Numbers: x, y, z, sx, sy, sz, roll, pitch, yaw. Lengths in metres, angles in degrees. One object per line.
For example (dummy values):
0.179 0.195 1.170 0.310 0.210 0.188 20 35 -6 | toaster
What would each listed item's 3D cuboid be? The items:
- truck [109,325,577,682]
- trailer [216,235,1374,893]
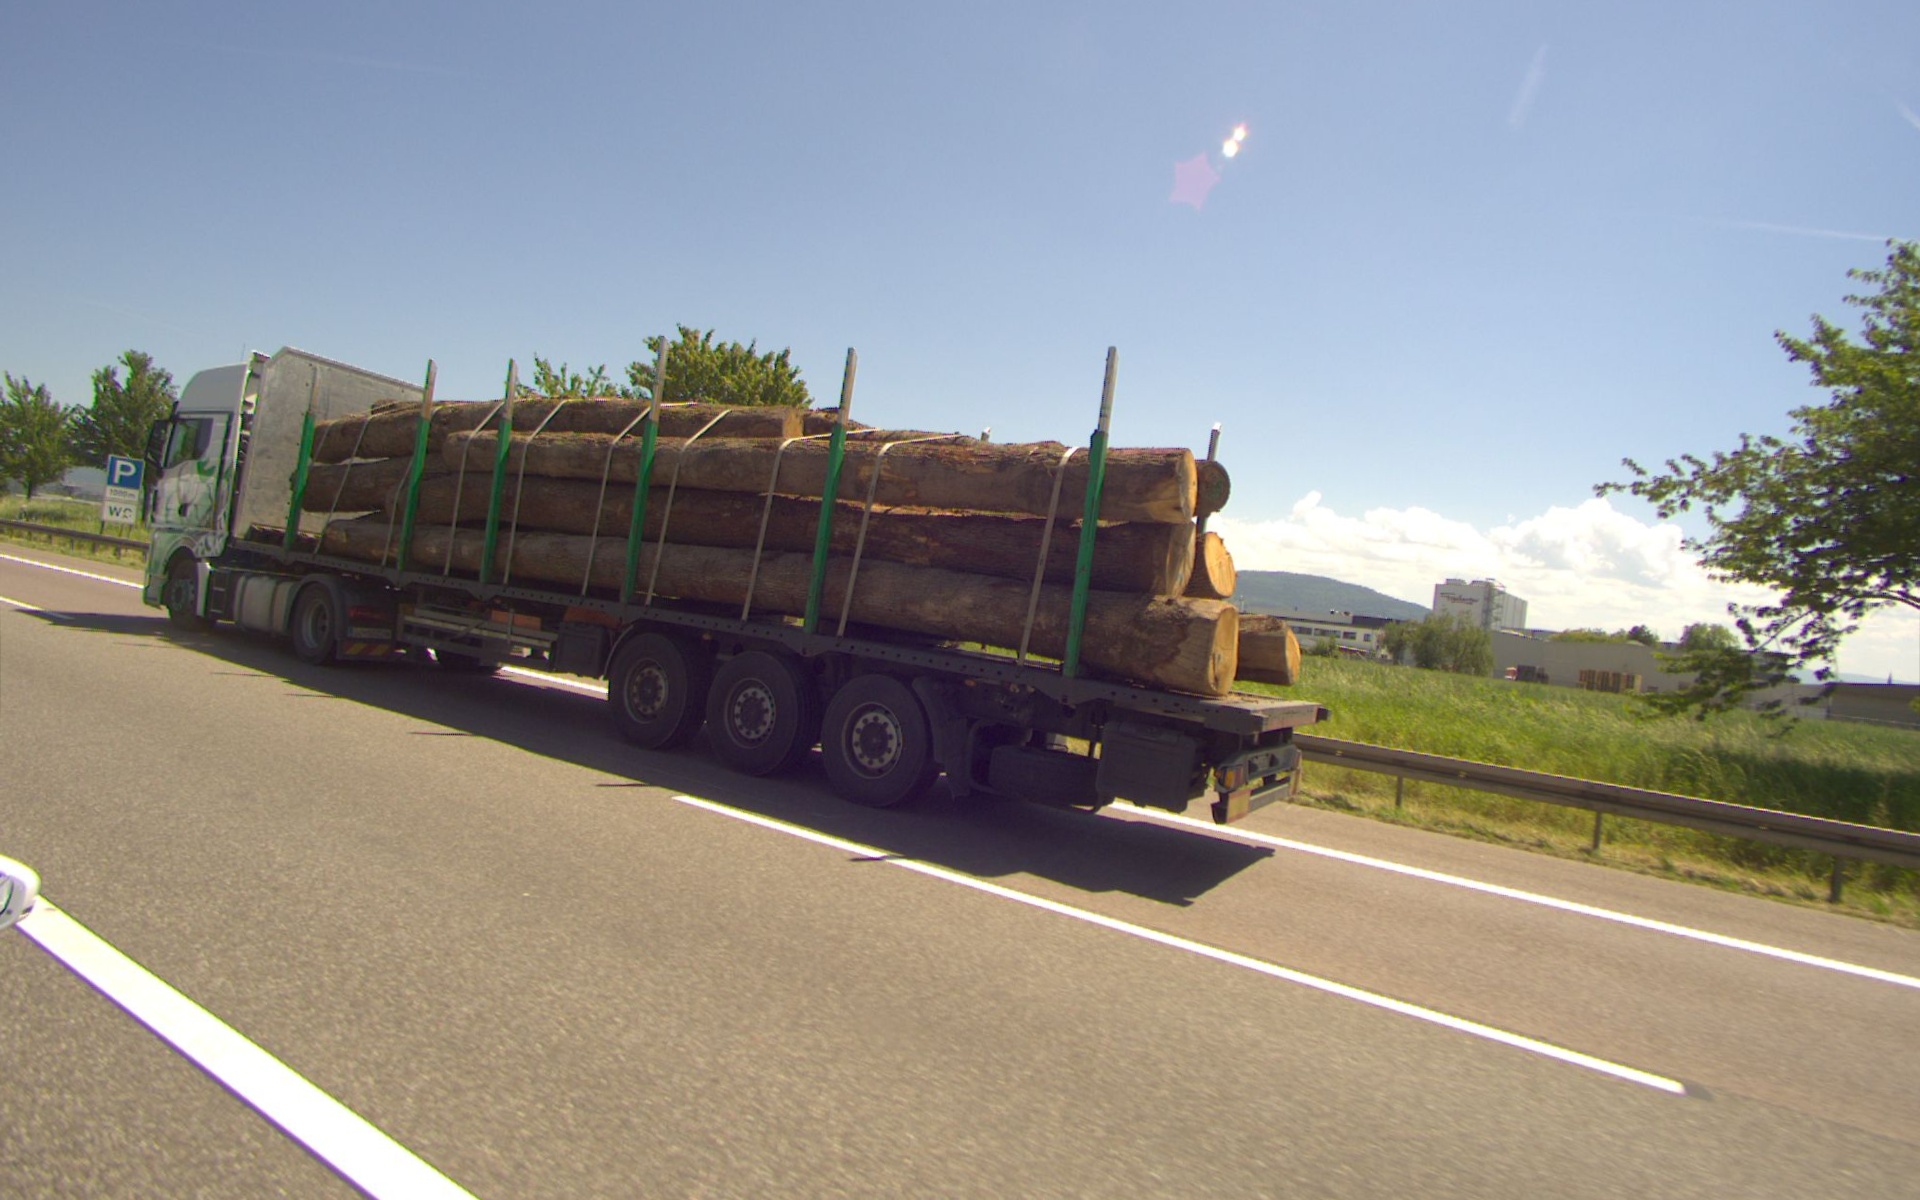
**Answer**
-8.920 -1.343 14.335 6.526 4.042 2.674 7 -1 32 | truck
-3.147 -0.778 10.750 13.410 4.006 2.657 7 -1 32 | trailer
